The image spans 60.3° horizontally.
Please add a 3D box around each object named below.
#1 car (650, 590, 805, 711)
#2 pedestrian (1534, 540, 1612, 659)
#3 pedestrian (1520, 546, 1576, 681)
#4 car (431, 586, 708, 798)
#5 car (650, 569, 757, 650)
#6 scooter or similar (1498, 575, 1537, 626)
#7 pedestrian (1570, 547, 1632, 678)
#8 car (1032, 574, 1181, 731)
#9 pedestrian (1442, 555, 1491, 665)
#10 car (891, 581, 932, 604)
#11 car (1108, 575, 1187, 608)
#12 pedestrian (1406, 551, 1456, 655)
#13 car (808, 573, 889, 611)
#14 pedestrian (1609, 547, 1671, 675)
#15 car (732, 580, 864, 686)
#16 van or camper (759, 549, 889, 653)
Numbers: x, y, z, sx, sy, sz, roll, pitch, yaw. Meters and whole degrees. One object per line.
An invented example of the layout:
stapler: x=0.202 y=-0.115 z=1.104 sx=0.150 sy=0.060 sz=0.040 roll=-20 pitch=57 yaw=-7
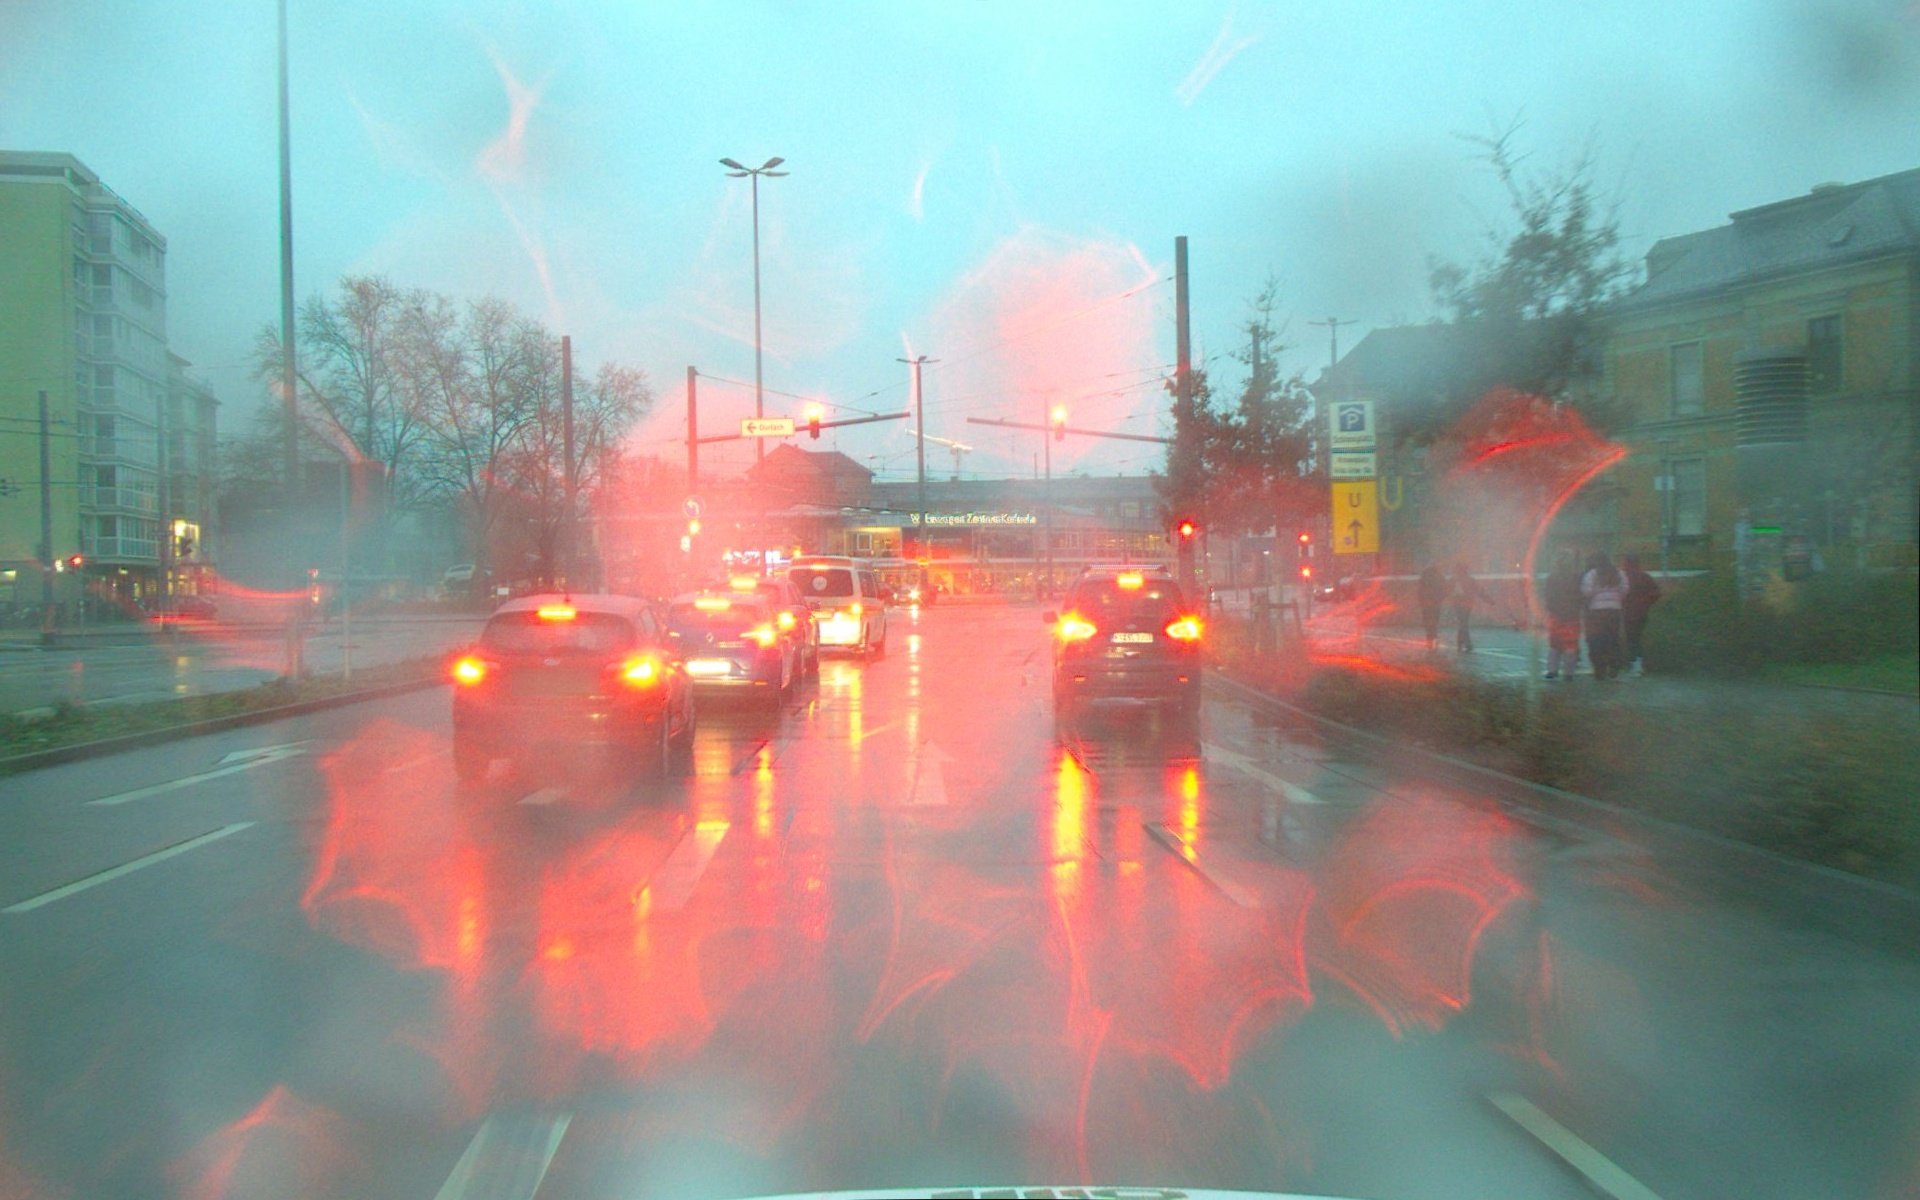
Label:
car: x=-2.988 y=0.597 z=21.947 sx=1.626 sy=1.428 sz=4.118 roll=1 pitch=0 yaw=-3
pedestrian: x=9.616 y=-0.012 z=25.950 sx=0.837 sy=1.822 sz=0.746 roll=-1 pitch=0 yaw=-16
pedestrian: x=8.139 y=0.182 z=22.882 sx=0.572 sy=1.812 sz=0.768 roll=-3 pitch=-1 yaw=27
car: x=-3.204 y=0.675 z=14.279 sx=1.667 sy=1.507 sz=3.869 roll=2 pitch=1 yaw=-4
car: x=-6.008 y=0.205 z=39.165 sx=1.846 sy=1.803 sz=4.001 roll=-1 pitch=0 yaw=1
scooter or similar: x=13.790 y=0.010 z=40.887 sx=0.504 sy=1.235 sz=1.377 roll=-1 pitch=0 yaw=37
pedestrian: x=8.726 y=0.168 z=22.498 sx=0.654 sy=1.717 sz=0.611 roll=-3 pitch=1 yaw=27
car: x=1.881 y=0.579 z=21.568 sx=1.740 sy=1.831 sz=4.427 roll=0 pitch=1 yaw=4
pedestrian: x=9.705 y=0.169 z=31.680 sx=0.791 sy=2.048 sz=0.759 roll=1 pitch=3 yaw=27
car: x=-3.135 y=-0.497 z=107.905 sx=1.774 sy=1.472 sz=4.004 roll=-1 pitch=0 yaw=11
car: x=9.392 y=-0.436 z=82.498 sx=1.965 sy=1.541 sz=3.976 roll=-1 pitch=1 yaw=42
pedestrian: x=9.075 y=0.039 z=31.871 sx=0.791 sy=1.963 sz=0.759 roll=1 pitch=3 yaw=27
car: x=-5.698 y=-0.433 z=84.027 sx=3.914 sy=1.803 sz=1.996 roll=-2 pitch=0 yaw=-10
pedestrian: x=9.366 y=0.148 z=22.775 sx=0.704 sy=1.717 sz=0.759 roll=-1 pitch=0 yaw=26
car: x=-2.687 y=0.508 z=28.313 sx=1.748 sy=1.628 sz=4.541 roll=1 pitch=0 yaw=0
van or camper: x=-2.928 y=0.009 z=36.783 sx=2.155 sy=2.146 sz=4.990 roll=0 pitch=0 yaw=4
